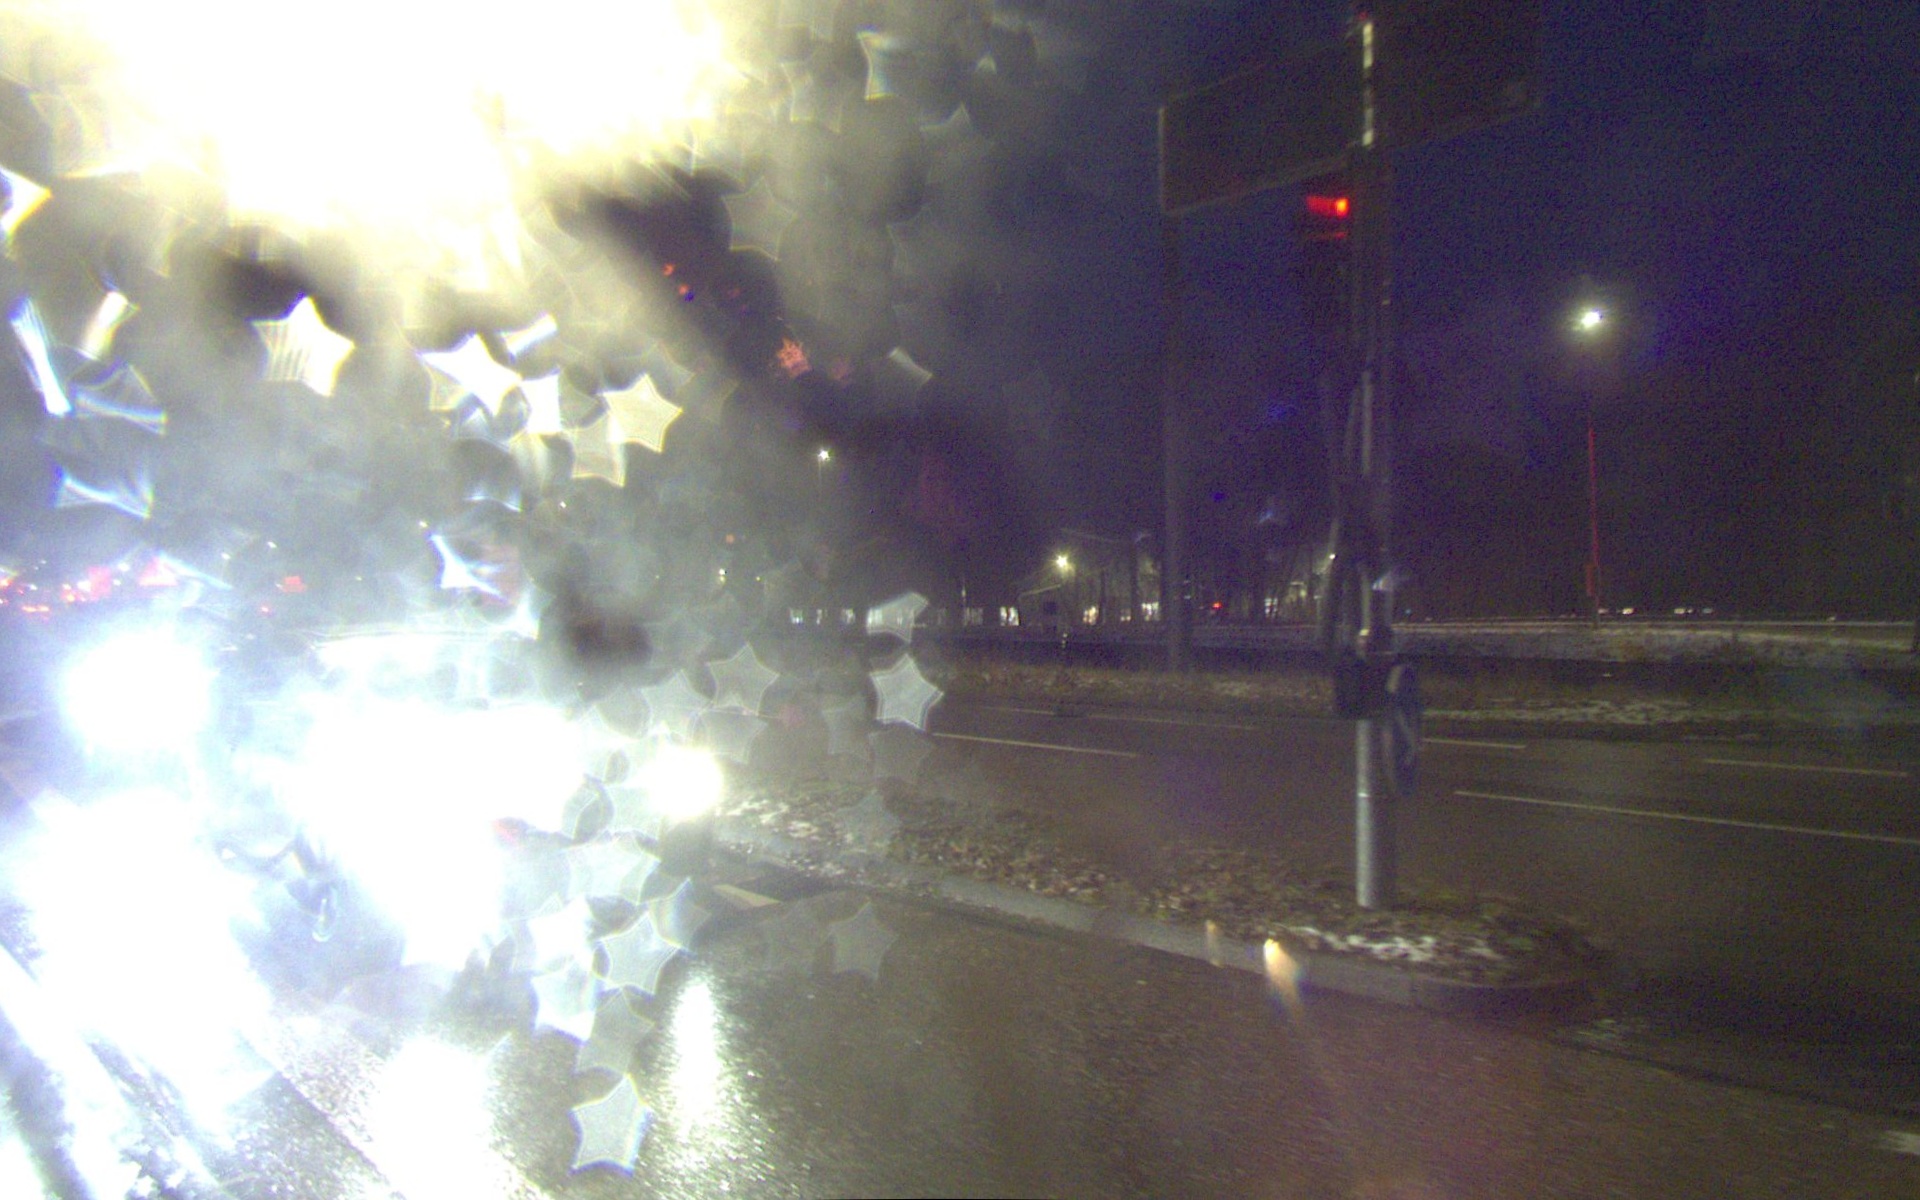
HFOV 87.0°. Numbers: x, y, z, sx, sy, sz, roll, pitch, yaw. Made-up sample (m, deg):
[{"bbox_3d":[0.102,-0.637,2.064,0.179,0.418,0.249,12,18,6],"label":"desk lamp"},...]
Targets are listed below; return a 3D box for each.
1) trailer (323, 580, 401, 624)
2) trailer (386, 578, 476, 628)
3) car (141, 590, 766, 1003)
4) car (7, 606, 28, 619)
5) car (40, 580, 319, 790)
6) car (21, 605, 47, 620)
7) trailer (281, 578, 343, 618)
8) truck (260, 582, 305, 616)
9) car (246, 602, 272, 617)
[{"bbox_3d":[-70.623,0.182,119.249,3.926,4.643,15.525,-6,4,-45],"label":"trailer"},{"bbox_3d":[-54.616,0.231,104.102,3.926,4.643,14.257,-6,4,-45],"label":"trailer"},{"bbox_3d":[-3.202,0.765,5.898,4.435,1.522,1.764,-1,-2,42],"label":"car"},{"bbox_3d":[-124.614,1.610,133.797,4.031,1.600,1.782,0,1,43],"label":"car"},{"bbox_3d":[-8.478,0.754,10.828,4.437,1.795,1.764,-1,-1,44],"label":"car"},{"bbox_3d":[-108.672,1.444,118.756,4.652,1.654,1.742,-1,1,42],"label":"car"},{"bbox_3d":[-88.609,-0.327,138.207,3.926,5.049,14.845,-6,4,-45],"label":"trailer"},{"bbox_3d":[-100.738,-0.181,150.317,3.400,4.643,10.219,-6,4,-45],"label":"truck"},{"bbox_3d":[-82.827,1.113,119.550,4.220,1.706,1.766,-1,1,44],"label":"car"}]
